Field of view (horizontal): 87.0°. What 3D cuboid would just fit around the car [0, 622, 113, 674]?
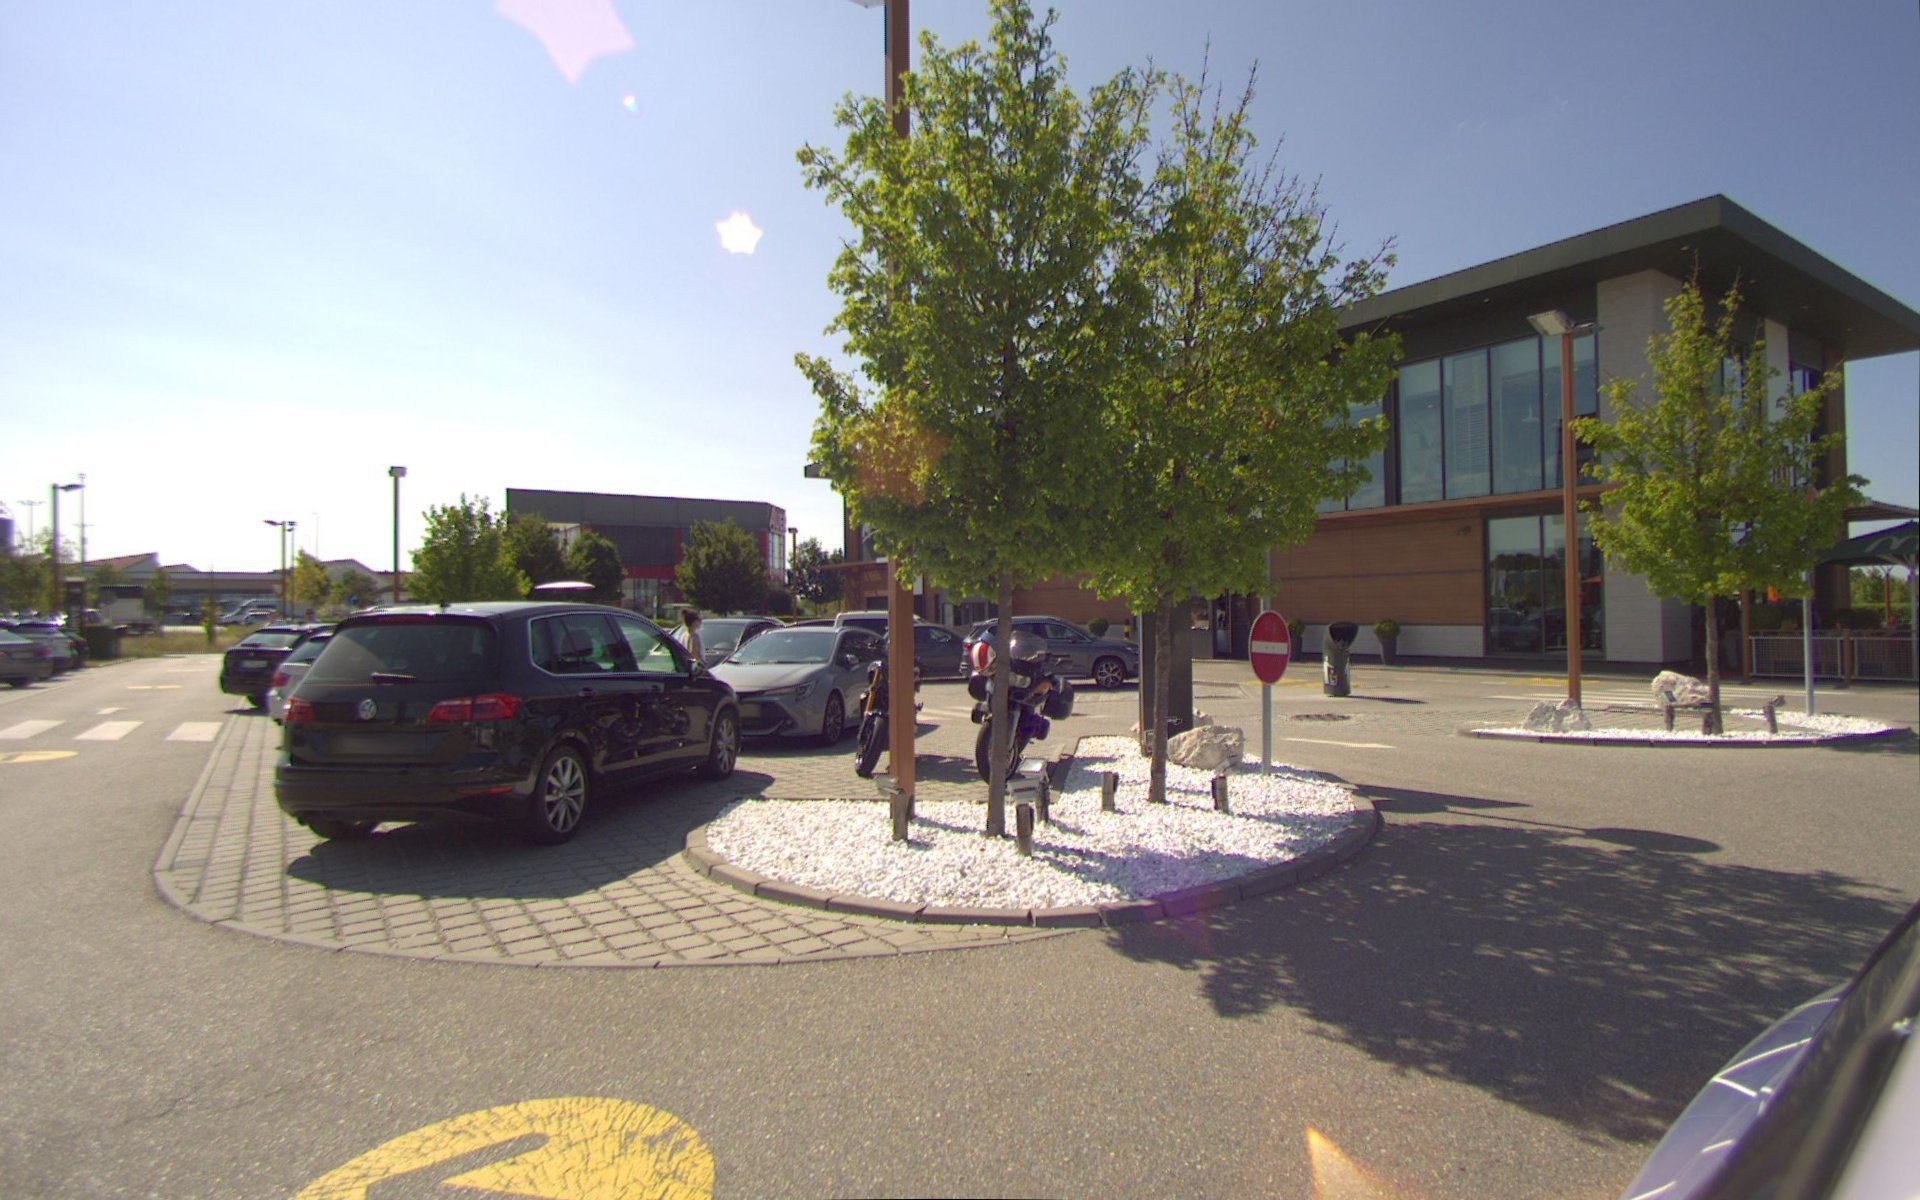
[{"bbox_3d":[-27.062,1.372,29.132,4.013,1.441,1.795,-1,-1,4],"label":"car"}]

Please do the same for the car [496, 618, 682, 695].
[{"bbox_3d":[-8.140,1.187,22.710,1.857,1.530,4.526,-1,-1,11],"label":"car"}]

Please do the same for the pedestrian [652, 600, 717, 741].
[{"bbox_3d":[-3.508,0.882,12.913,0.603,1.735,0.560,-1,-2,19],"label":"pedestrian"}]

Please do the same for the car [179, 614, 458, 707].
[{"bbox_3d":[-11.770,1.041,18.999,1.952,1.530,4.401,-1,-1,11],"label":"car"}]

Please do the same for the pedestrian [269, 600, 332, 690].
[{"bbox_3d":[-14.616,0.970,22.448,1.007,1.940,0.904,0,-2,-22],"label":"pedestrian"}]

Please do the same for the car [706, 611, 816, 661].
[{"bbox_3d":[-7.446,1.316,37.857,3.955,1.727,1.678,-1,-1,-12],"label":"car"}]

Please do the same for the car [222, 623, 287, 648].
[{"bbox_3d":[-53.317,2.670,76.546,3.927,1.750,1.892,0,-1,-39],"label":"car"}]

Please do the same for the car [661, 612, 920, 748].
[{"bbox_3d":[-1.974,0.964,13.363,1.807,1.466,4.643,-1,-3,12],"label":"car"}]

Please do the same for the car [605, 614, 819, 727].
[{"bbox_3d":[-3.902,1.045,16.651,1.785,1.614,3.982,-1,-1,14],"label":"car"}]

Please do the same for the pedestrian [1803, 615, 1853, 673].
[{"bbox_3d":[17.445,0.875,20.342,0.514,1.138,0.634,1,-2,-38],"label":"pedestrian"}]

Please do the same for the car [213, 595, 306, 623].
[{"bbox_3d":[-59.743,0.791,86.416,6.447,2.273,2.300,0,-1,-35],"label":"car"}]

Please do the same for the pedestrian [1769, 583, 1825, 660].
[{"bbox_3d":[19.952,0.520,24.125,0.790,1.791,0.894,1,-2,-43],"label":"pedestrian"}]

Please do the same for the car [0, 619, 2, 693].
[{"bbox_3d":[-21.909,1.167,19.955,4.267,1.531,1.779,0,-1,-2],"label":"car"}]

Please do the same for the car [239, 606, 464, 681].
[{"bbox_3d":[-13.650,0.927,23.063,1.952,1.530,4.401,-1,-1,11],"label":"car"}]

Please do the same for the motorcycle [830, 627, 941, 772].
[{"bbox_3d":[-0.674,0.907,9.921,0.806,1.247,2.138,-1,-2,3],"label":"motorcycle"}]

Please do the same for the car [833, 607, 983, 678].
[{"bbox_3d":[-1.439,1.191,28.819,4.072,1.946,1.755,-1,-1,5],"label":"car"}]

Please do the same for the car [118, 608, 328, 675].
[{"bbox_3d":[-17.233,0.934,23.919,1.680,1.444,3.887,-1,-1,13],"label":"car"}]

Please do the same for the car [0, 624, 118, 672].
[{"bbox_3d":[-29.065,1.494,31.925,3.713,1.441,1.908,-1,-1,9],"label":"car"}]

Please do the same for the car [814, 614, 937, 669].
[{"bbox_3d":[-2.631,1.295,32.011,3.771,1.653,1.758,0,-1,0],"label":"car"}]

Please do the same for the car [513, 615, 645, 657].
[{"bbox_3d":[-16.159,1.497,43.039,4.969,1.651,1.923,0,-1,-36],"label":"car"}]

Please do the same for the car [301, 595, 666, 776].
[{"bbox_3d":[-5.068,0.845,11.472,1.720,1.661,4.054,-1,-2,10],"label":"car"}]

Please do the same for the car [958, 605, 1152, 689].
[{"bbox_3d":[2.181,1.051,22.970,4.158,1.623,1.786,-3,0,10],"label":"car"}]

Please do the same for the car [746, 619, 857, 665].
[{"bbox_3d":[-5.439,1.433,35.004,3.696,1.462,1.676,-1,-1,-6],"label":"car"}]

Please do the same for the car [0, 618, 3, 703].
[{"bbox_3d":[-19.118,1.089,17.390,3.932,1.508,1.817,-1,-1,8],"label":"car"}]

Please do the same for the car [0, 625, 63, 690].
[{"bbox_3d":[-23.497,1.310,23.315,4.604,1.429,1.708,-1,-1,9],"label":"car"}]

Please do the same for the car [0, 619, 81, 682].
[{"bbox_3d":[-25.671,1.292,26.378,3.978,1.576,1.806,0,-1,1],"label":"car"}]

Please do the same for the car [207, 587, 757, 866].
[{"bbox_3d":[-3.203,0.749,7.892,1.865,1.556,4.179,-1,-1,9],"label":"car"}]

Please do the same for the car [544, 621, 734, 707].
[{"bbox_3d":[-6.121,1.174,19.833,1.801,1.467,4.060,-1,-1,12],"label":"car"}]

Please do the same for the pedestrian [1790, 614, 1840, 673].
[{"bbox_3d":[16.873,0.850,19.979,0.514,1.138,0.634,1,-2,-38],"label":"pedestrian"}]

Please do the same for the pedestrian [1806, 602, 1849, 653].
[{"bbox_3d":[19.220,0.613,22.425,0.644,1.115,0.573,1,-2,-36],"label":"pedestrian"}]

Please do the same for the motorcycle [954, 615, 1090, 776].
[{"bbox_3d":[0.621,0.818,9.232,1.053,1.267,2.246,-2,-3,7],"label":"motorcycle"}]

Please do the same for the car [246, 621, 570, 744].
[{"bbox_3d":[-7.311,1.022,13.944,1.765,1.426,4.068,-1,-2,10],"label":"car"}]

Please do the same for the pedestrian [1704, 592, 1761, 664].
[{"bbox_3d":[17.609,0.637,23.063,0.714,1.604,0.742,0,-2,-25],"label":"pedestrian"}]

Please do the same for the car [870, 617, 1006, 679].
[{"bbox_3d":[-0.526,1.212,26.117,3.355,1.501,1.565,-1,-1,5],"label":"car"}]
